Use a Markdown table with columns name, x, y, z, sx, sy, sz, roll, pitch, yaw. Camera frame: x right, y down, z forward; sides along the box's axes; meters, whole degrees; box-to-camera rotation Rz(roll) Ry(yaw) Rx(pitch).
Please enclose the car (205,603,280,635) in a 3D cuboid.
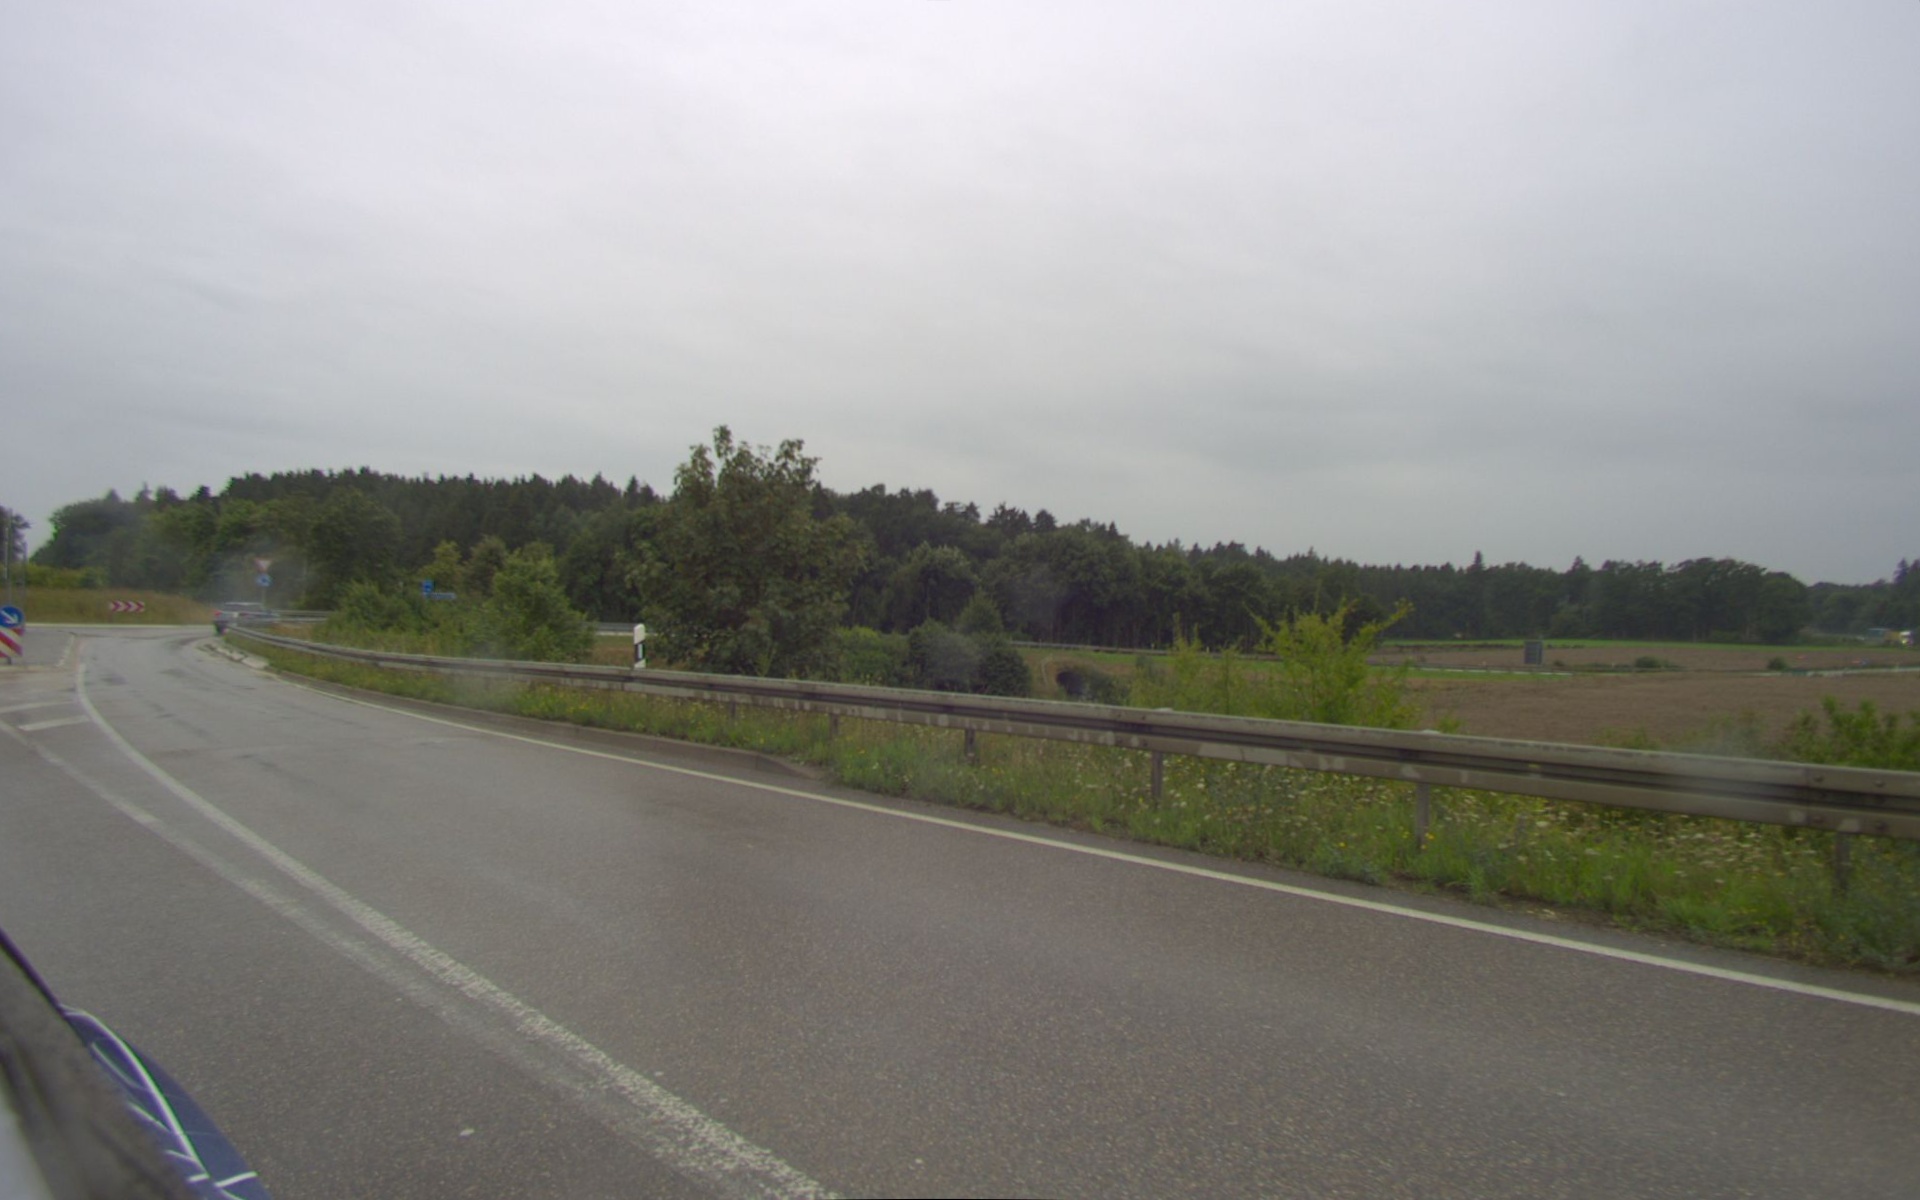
| name | x | y | z | sx | sy | sz | roll | pitch | yaw |
| --- | --- | --- | --- | --- | --- | --- | --- | --- | --- |
| car | -38.628 | 1.019 | 54.582 | 1.777 | 1.587 | 4.009 | 1 | 0 | -11 |
